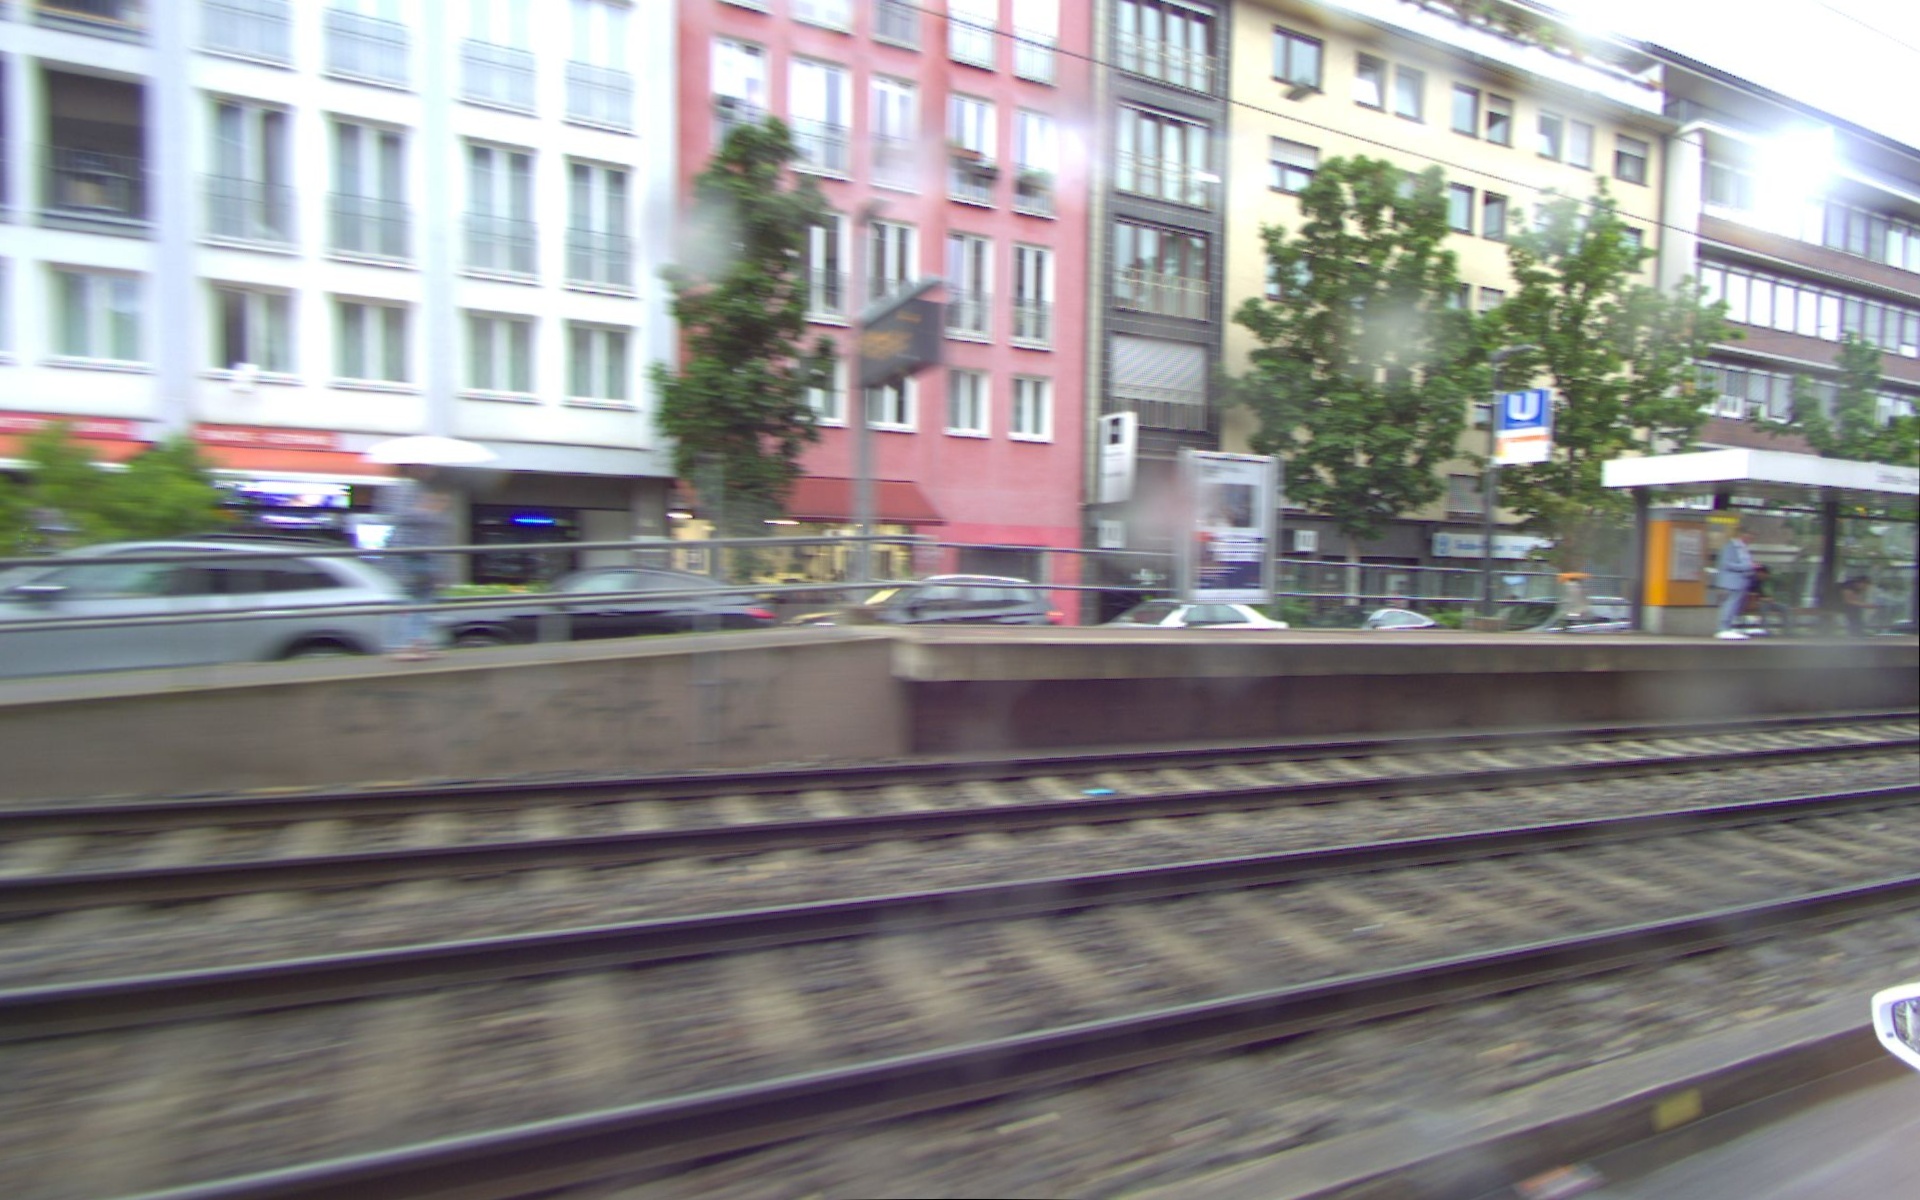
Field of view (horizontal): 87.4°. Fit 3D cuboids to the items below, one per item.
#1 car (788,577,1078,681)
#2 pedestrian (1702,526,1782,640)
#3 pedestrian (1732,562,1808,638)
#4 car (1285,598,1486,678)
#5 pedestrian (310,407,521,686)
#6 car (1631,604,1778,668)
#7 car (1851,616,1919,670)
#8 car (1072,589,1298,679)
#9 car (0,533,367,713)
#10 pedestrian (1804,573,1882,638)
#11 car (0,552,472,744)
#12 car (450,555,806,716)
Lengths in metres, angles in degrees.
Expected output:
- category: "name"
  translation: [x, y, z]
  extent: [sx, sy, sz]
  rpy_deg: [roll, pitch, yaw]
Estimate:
- category: "car"
  translation: [-0.404, 0.429, 16.046]
  extent: [4.266, 1.455, 1.833]
  rpy_deg: [1, 1, -29]
- category: "pedestrian"
  translation: [12.334, -0.263, 15.843]
  extent: [0.839, 1.734, 0.653]
  rpy_deg: [1, 1, -27]
- category: "pedestrian"
  translation: [13.971, -0.005, 17.328]
  extent: [0.873, 1.266, 0.690]
  rpy_deg: [1, 1, -27]
- category: "car"
  translation: [8.683, 0.737, 20.464]
  extent: [3.930, 1.455, 1.666]
  rpy_deg: [1, 1, -29]
- category: "pedestrian"
  translation: [-4.334, -0.379, 8.133]
  extent: [1.365, 2.040, 1.112]
  rpy_deg: [2, 1, -25]
- category: "car"
  translation: [18.870, 0.890, 25.450]
  extent: [3.690, 1.455, 1.561]
  rpy_deg: [1, 1, -29]
- category: "car"
  translation: [28.486, 1.244, 29.922]
  extent: [4.186, 1.455, 1.561]
  rpy_deg: [1, 1, -29]
- category: "car"
  translation: [4.103, 0.584, 18.181]
  extent: [3.930, 1.455, 1.561]
  rpy_deg: [1, 1, -29]
- category: "car"
  translation: [-9.519, 0.240, 11.803]
  extent: [4.266, 1.883, 1.700]
  rpy_deg: [1, 1, -28]
- category: "pedestrian"
  translation: [16.160, 0.088, 18.389]
  extent: [0.842, 1.138, 0.886]
  rpy_deg: [1, 1, -36]
- category: "car"
  translation: [-7.435, 0.396, 9.549]
  extent: [4.952, 1.599, 1.801]
  rpy_deg: [1, 1, -25]
- category: "car"
  translation: [-4.442, 0.438, 13.557]
  extent: [4.325, 1.883, 1.795]
  rpy_deg: [1, 1, -28]
